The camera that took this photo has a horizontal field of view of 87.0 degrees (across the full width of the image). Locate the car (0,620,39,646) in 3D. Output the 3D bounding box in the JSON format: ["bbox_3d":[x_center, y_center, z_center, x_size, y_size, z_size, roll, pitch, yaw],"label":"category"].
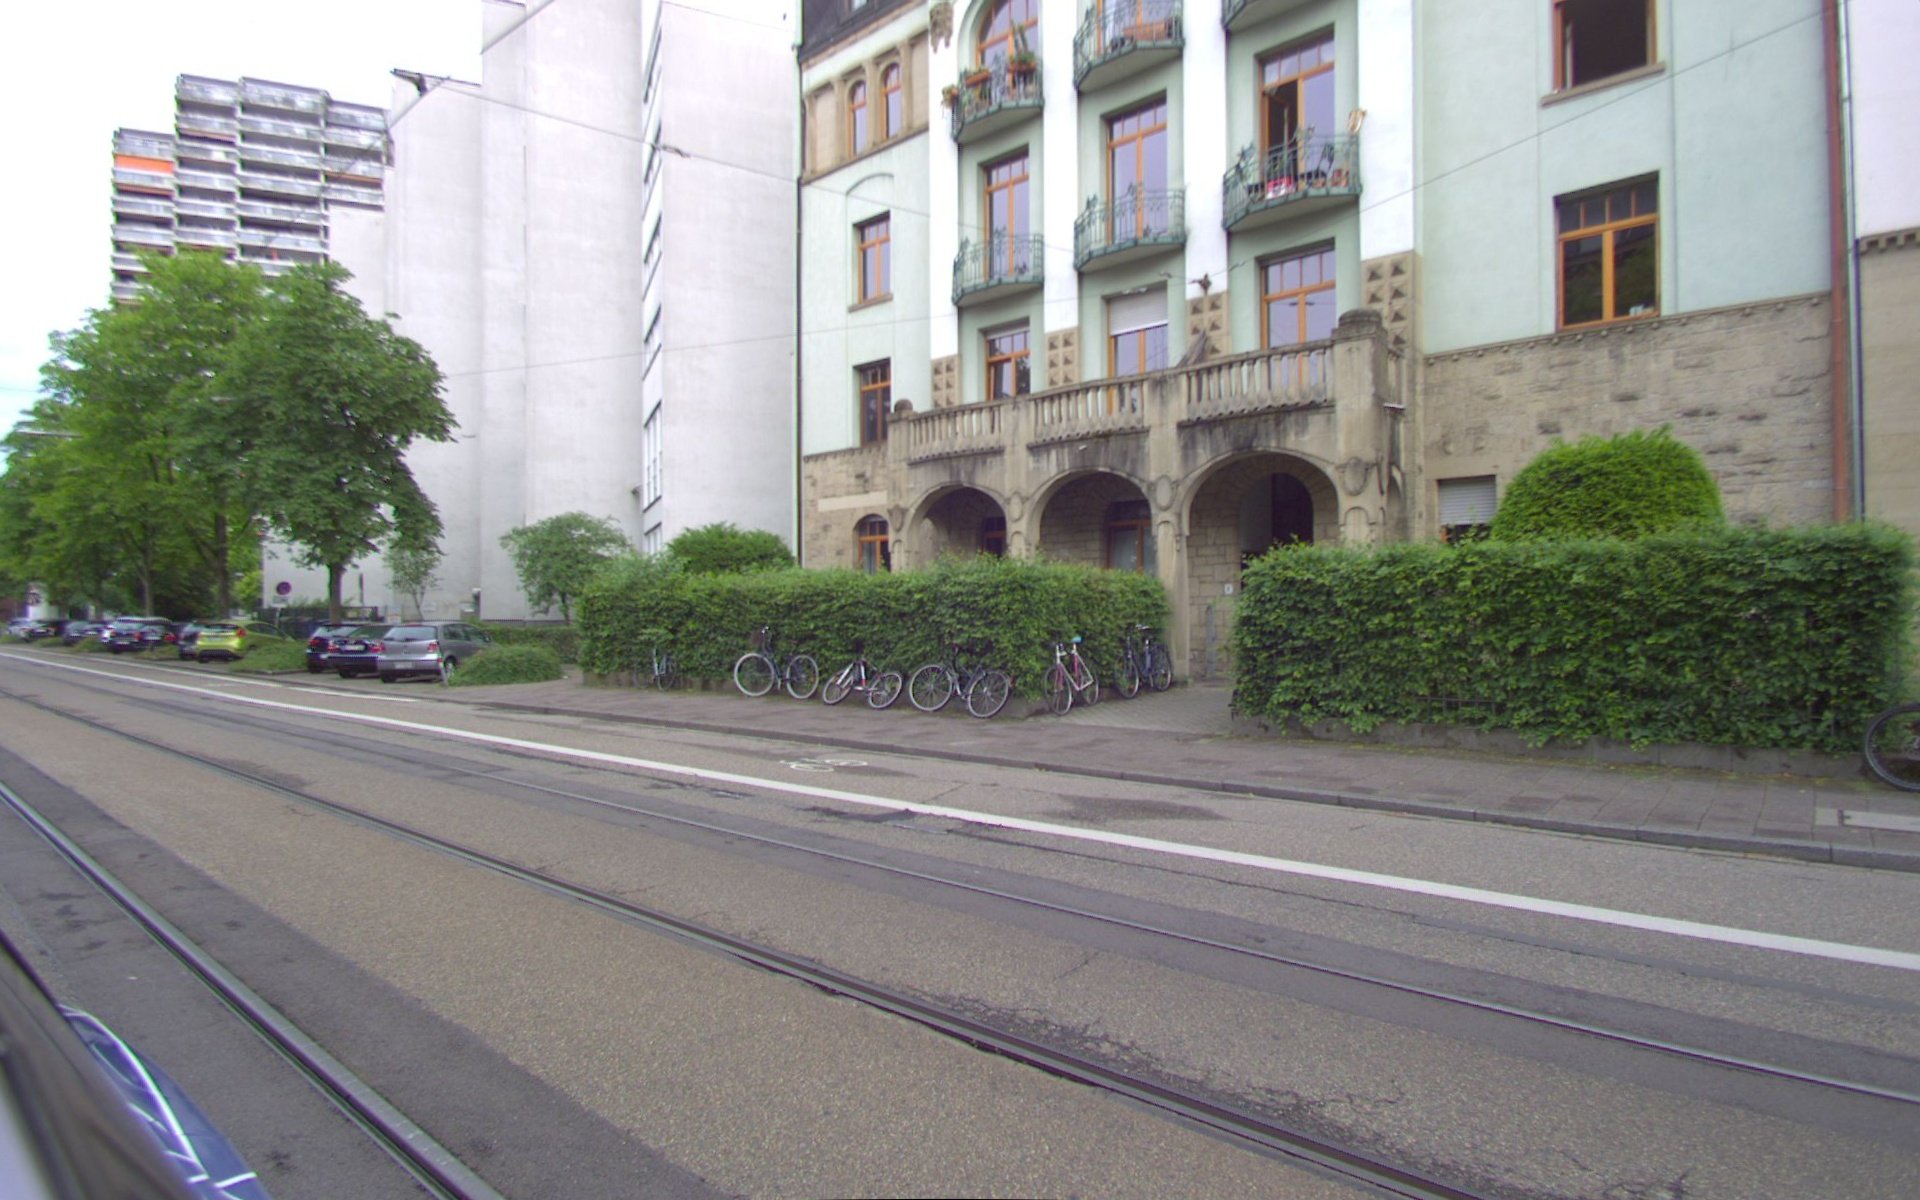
[{"bbox_3d":[-60.875,2.109,65.260,3.996,1.632,1.673,-1,-2,39],"label":"car"}]

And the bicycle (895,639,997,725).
[{"bbox_3d":[-0.207,1.088,13.777,1.546,1.092,0.356,-1,-2,41],"label":"bicycle"}]

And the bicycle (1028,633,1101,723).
[{"bbox_3d":[1.424,1.029,13.642,0.300,1.091,1.190,-2,1,42],"label":"bicycle"}]

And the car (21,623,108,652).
[{"bbox_3d":[-52.418,2.174,59.314,1.670,1.632,4.002,0,-1,-3],"label":"car"}]

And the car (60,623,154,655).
[{"bbox_3d":[-44.692,2.024,53.152,1.670,1.632,4.002,0,-1,-3],"label":"car"}]

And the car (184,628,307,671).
[{"bbox_3d":[-25.150,1.697,35.809,1.670,1.405,4.002,0,-1,-3],"label":"car"}]

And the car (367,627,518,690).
[{"bbox_3d":[-12.795,1.398,25.301,1.672,1.413,3.998,0,-1,1],"label":"car"}]

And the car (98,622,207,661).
[{"bbox_3d":[-34.974,1.773,43.967,1.670,1.632,4.002,0,-1,-3],"label":"car"}]

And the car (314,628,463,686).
[{"bbox_3d":[-15.122,1.469,27.024,1.672,1.413,3.998,0,-1,1],"label":"car"}]

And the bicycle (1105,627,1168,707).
[{"bbox_3d":[2.655,0.977,15.155,0.300,1.091,1.190,-2,1,42],"label":"bicycle"}]

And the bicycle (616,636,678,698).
[{"bbox_3d":[-5.841,1.226,18.857,1.546,1.092,0.356,-1,-2,41],"label":"bicycle"}]

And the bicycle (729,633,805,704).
[{"bbox_3d":[-3.168,1.095,16.541,1.546,1.092,0.356,-1,-2,41],"label":"bicycle"}]

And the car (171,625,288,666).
[{"bbox_3d":[-27.302,1.670,37.984,1.670,1.453,4.002,0,-1,-3],"label":"car"}]

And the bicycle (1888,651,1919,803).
[{"bbox_3d":[7.579,0.924,7.098,1.546,1.092,0.356,-1,-2,41],"label":"bicycle"}]

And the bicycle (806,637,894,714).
[{"bbox_3d":[-1.656,1.103,15.107,1.546,1.092,0.356,-1,-2,41],"label":"bicycle"}]

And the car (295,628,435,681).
[{"bbox_3d":[-17.192,1.524,29.472,1.672,1.413,3.998,0,-1,1],"label":"car"}]
